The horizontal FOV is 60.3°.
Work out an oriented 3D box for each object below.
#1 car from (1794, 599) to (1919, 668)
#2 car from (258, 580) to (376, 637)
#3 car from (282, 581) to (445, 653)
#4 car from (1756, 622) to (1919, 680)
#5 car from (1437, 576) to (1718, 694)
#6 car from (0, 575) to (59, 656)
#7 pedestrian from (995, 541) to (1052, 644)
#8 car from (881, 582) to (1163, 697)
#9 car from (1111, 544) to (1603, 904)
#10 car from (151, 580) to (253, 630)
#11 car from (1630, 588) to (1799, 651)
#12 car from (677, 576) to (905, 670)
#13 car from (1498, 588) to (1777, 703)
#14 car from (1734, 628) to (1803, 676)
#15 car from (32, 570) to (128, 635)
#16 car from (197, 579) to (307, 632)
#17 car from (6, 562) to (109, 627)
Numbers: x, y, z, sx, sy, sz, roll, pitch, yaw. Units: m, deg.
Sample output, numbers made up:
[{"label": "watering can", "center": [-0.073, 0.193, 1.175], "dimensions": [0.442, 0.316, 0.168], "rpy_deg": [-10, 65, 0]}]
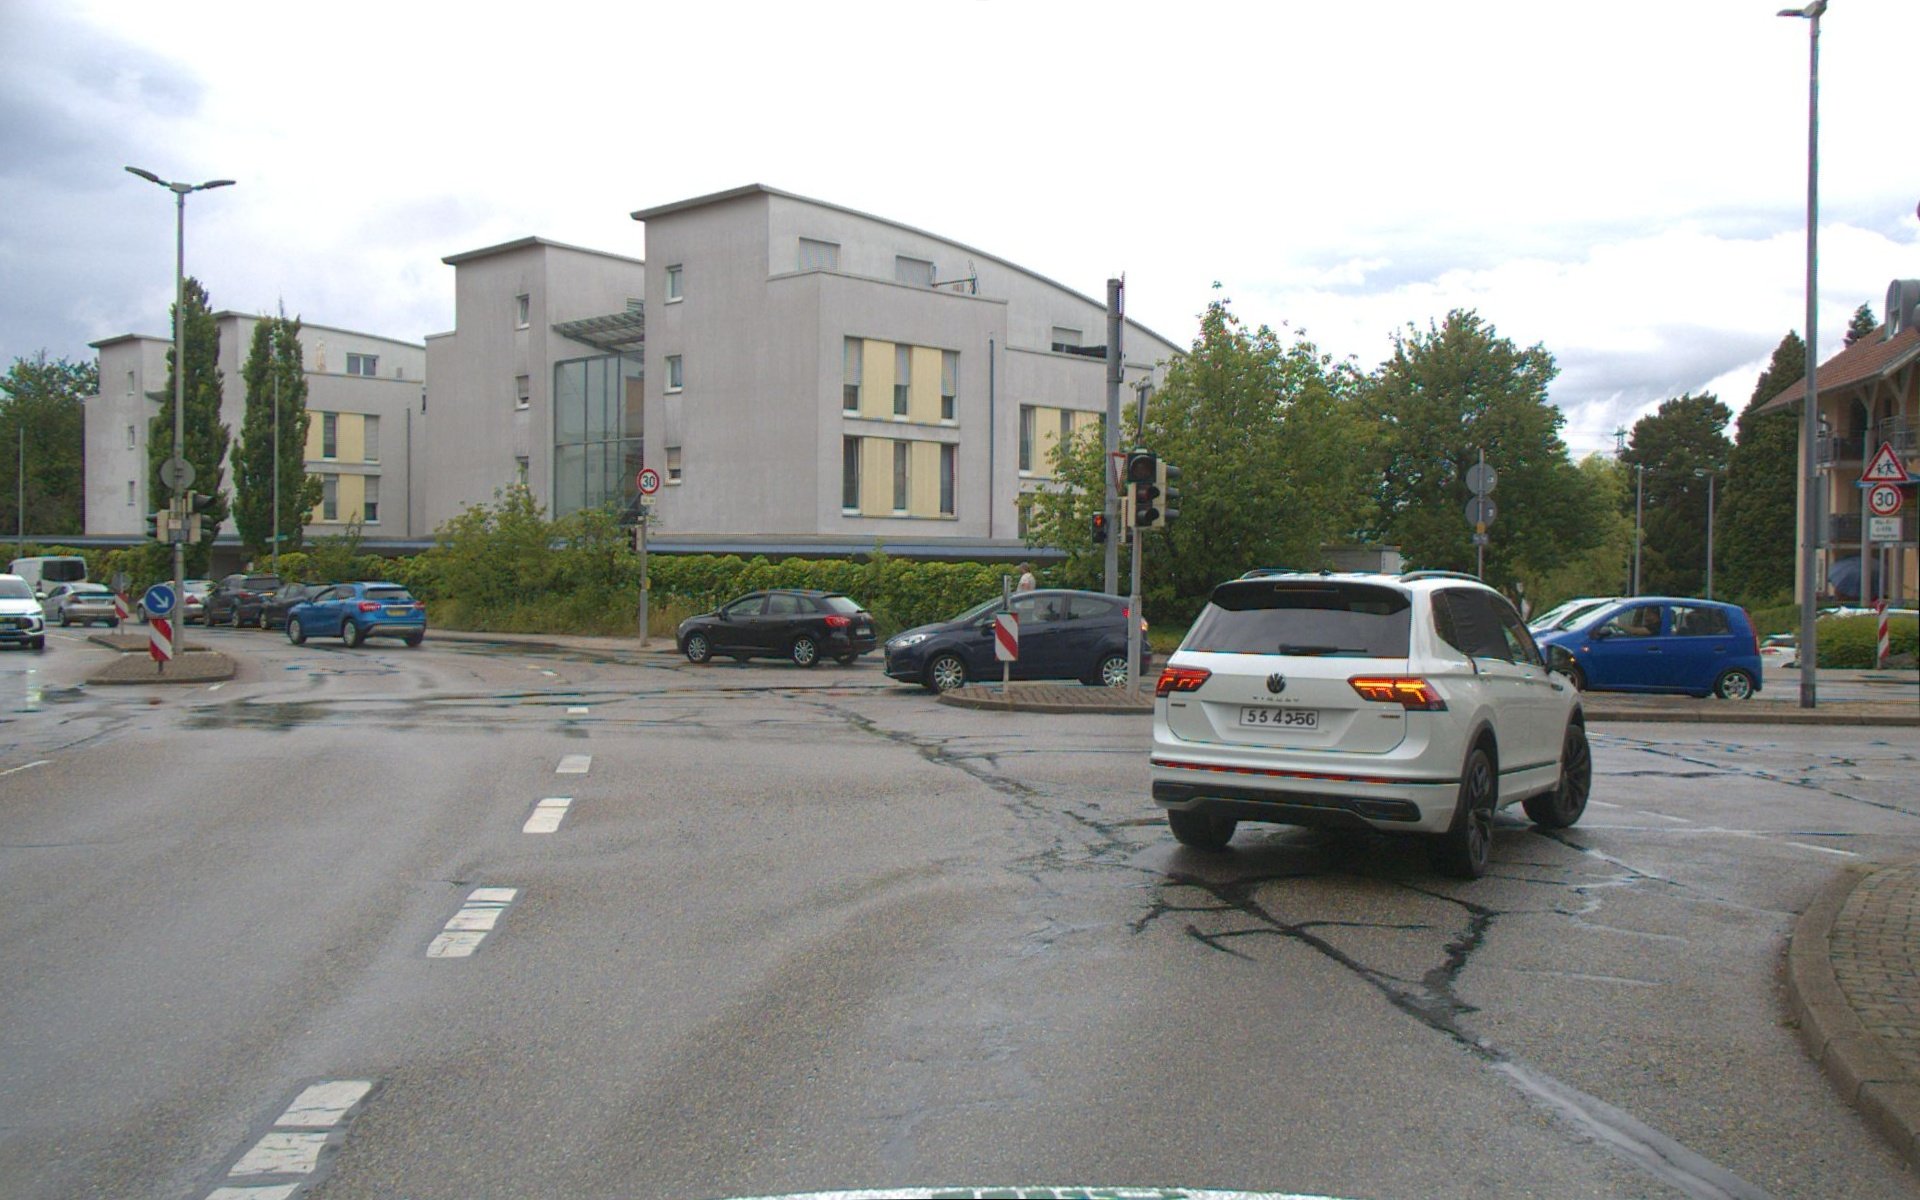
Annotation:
[{"label": "car", "center": [20.943, 0.756, 36.698], "dimensions": [4.101, 1.464, 1.823], "rpy_deg": [1, 0, 18]}, {"label": "car", "center": [-19.598, 0.221, 50.340], "dimensions": [1.985, 1.582, 3.935], "rpy_deg": [-2, 2, -44]}, {"label": "car", "center": [-14.393, 0.362, 39.860], "dimensions": [3.925, 1.582, 1.990], "rpy_deg": [1, 2, 40]}, {"label": "car", "center": [23.106, 1.313, 43.373], "dimensions": [3.768, 1.433, 1.767], "rpy_deg": [0, 0, 17]}, {"label": "car", "center": [10.351, 0.564, 27.899], "dimensions": [3.911, 1.698, 1.998], "rpy_deg": [2, 3, -7]}, {"label": "car", "center": [-21.549, 0.314, 37.308], "dimensions": [1.974, 1.668, 3.957], "rpy_deg": [0, 2, -32]}, {"label": "pedestrian", "center": [1.296, -0.164, 33.623], "dimensions": [0.787, 2.048, 0.845], "rpy_deg": [2, 2, 39]}, {"label": "car", "center": [0.829, 0.542, 24.073], "dimensions": [3.908, 1.527, 1.924], "rpy_deg": [1, 0, -4]}, {"label": "car", "center": [2.733, 0.609, 10.543], "dimensions": [1.885, 1.752, 4.256], "rpy_deg": [2, 1, 30]}, {"label": "car", "center": [-26.115, 0.138, 56.926], "dimensions": [1.985, 1.582, 3.935], "rpy_deg": [-2, 2, -44]}, {"label": "car", "center": [31.664, 0.785, 69.642], "dimensions": [5.873, 2.239, 2.855], "rpy_deg": [3, 2, 12]}, {"label": "car", "center": [-3.248, 0.395, 31.868], "dimensions": [3.906, 1.578, 2.000], "rpy_deg": [2, 3, 22]}, {"label": "car", "center": [9.607, 0.622, 23.639], "dimensions": [3.356, 1.481, 1.526], "rpy_deg": [1, 2, 5]}, {"label": "car", "center": [26.924, 1.704, 55.170], "dimensions": [1.724, 1.433, 3.862], "rpy_deg": [-1, 0, 21]}, {"label": "car", "center": [-28.810, 0.041, 54.095], "dimensions": [1.982, 1.788, 3.944], "rpy_deg": [-1, 5, -40]}, {"label": "car", "center": [-22.946, 0.156, 53.578], "dimensions": [1.985, 1.582, 3.935], "rpy_deg": [-2, 2, -44]}, {"label": "car", "center": [-37.014, -0.207, 67.751], "dimensions": [2.579, 2.456, 5.175], "rpy_deg": [-1, -1, -42]}]
